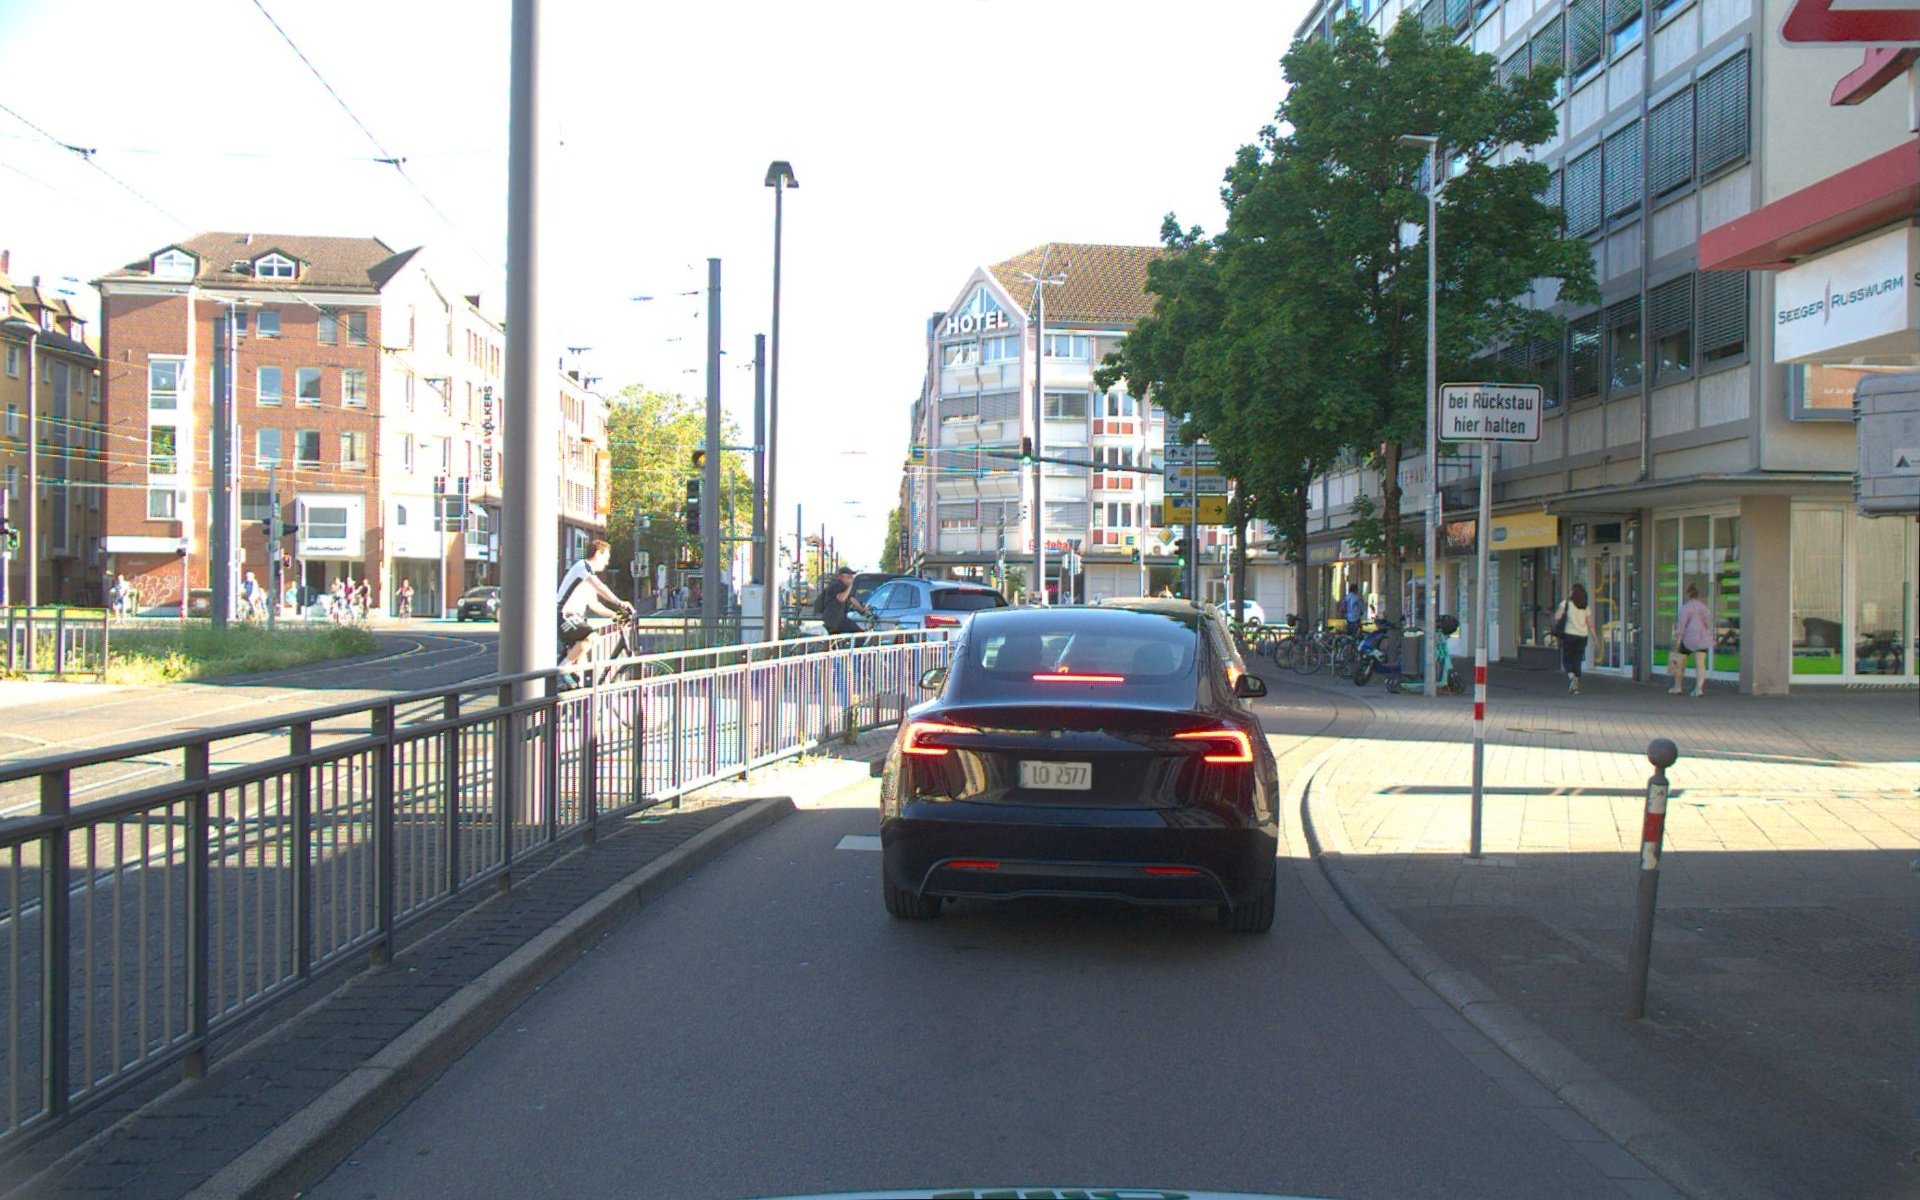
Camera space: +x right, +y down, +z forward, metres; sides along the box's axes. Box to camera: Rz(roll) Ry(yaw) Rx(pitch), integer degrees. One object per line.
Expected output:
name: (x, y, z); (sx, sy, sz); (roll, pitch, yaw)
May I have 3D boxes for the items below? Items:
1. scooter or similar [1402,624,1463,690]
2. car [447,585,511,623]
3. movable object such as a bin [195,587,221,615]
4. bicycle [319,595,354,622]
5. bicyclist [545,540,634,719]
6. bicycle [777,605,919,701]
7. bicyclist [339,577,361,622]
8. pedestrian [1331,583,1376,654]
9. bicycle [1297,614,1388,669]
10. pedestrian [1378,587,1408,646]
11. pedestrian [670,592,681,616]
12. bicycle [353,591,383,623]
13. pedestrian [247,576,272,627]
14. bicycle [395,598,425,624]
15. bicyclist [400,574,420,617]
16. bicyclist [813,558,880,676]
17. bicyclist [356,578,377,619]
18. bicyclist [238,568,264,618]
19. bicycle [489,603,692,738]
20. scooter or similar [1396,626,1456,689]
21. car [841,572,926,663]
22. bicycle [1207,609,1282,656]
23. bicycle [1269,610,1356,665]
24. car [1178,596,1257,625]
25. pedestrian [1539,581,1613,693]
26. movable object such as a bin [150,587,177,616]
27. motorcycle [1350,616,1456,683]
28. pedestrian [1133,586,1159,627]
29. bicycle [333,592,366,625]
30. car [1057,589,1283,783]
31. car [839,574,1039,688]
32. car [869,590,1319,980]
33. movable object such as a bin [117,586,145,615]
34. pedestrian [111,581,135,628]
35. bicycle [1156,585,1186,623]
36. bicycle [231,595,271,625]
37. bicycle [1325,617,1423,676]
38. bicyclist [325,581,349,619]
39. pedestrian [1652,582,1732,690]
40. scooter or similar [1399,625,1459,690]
scooter or similar: (7.710, 0.927, 26.999); (0.943, 1.061, 0.160); (0, 0, 2)
car: (-21.143, 0.172, 72.816); (1.650, 1.588, 4.121); (1, 0, -1)
movable object such as a bin: (-39.271, 0.048, 86.385); (0.978, 1.462, 1.093); (1, 0, -10)
bicycle: (-24.726, 0.338, 65.636); (0.636, 1.031, 1.885); (1, 0, 1)
bicyclist: (-3.534, 0.276, 15.799); (0.667, 1.659, 0.579); (1, -1, 3)
bicycle: (-1.496, 0.702, 22.229); (1.802, 1.233, 0.635); (1, -1, -32)
bicyclist: (-23.279, -0.009, 63.163); (0.510, 1.702, 0.770); (1, -1, 0)
pedestrian: (9.907, 0.454, 41.615); (0.829, 1.751, 0.876); (1, -1, 36)
bicycle: (7.728, 0.833, 33.434); (1.730, 1.075, 0.458); (1, -1, 4)
pedestrian: (10.825, 0.413, 41.352); (0.631, 1.447, 0.621); (1, -1, 9)
pedestrian: (-18.710, 0.243, 108.799); (0.574, 1.557, 0.634); (1, -1, -18)
bicycle: (-24.421, 0.284, 68.267); (0.562, 1.313, 2.026); (1, 0, -2)
pedestrian: (-28.446, 0.081, 67.167); (0.582, 2.049, 0.830); (1, -1, 2)
bicycle: (-22.184, 0.433, 66.693); (0.519, 1.031, 1.897); (1, 0, 1)
bicyclist: (-22.175, -0.188, 66.647); (0.514, 1.702, 0.770); (1, -1, 1)
bicyclist: (-1.527, 0.227, 22.210); (0.674, 1.550, 0.628); (1, -1, -32)
bicyclist: (-24.426, -0.063, 68.060); (0.576, 1.678, 0.806); (1, -1, -3)
bicyclist: (-24.577, -0.250, 57.342); (0.510, 1.702, 0.770); (1, -1, 0)
bicycle: (-3.510, 0.657, 15.786); (1.782, 1.233, 0.582); (1, -1, 3)
scooter or similar: (7.719, 0.951, 27.398); (0.943, 1.045, 0.160); (0, 0, 2)
car: (-1.498, 0.332, 32.284); (1.541, 1.646, 3.781); (1, 0, -3)
bicycle: (7.309, 0.832, 42.525); (1.851, 1.177, 0.480); (-1, -1, 0)
bicycle: (7.554, 0.794, 35.467); (1.774, 1.172, 0.435); (0, 0, -5)
car: (13.487, 0.553, 86.604); (3.766, 1.457, 1.801); (1, -2, -6)
pedestrian: (9.811, 0.582, 26.365); (0.826, 1.737, 0.880); (1, -1, -1)
movable object such as a bin: (-41.513, 0.072, 86.182); (0.978, 1.462, 1.093); (1, 0, -10)
motorcycle: (7.849, 0.875, 29.328); (1.751, 1.149, 0.504); (1, -1, -3)
pedestrian: (7.443, 0.240, 66.176); (0.766, 1.604, 0.864); (1, 1, -16)
bicycle: (-23.283, 0.324, 63.134); (0.519, 1.235, 1.885); (1, 0, 1)
car: (1.782, 0.653, 15.098); (1.727, 1.469, 4.531); (1, 0, 4)
car: (-0.399, 0.462, 26.194); (1.818, 1.663, 3.455); (1, 0, -27)
car: (0.660, 0.713, 8.512); (1.753, 1.476, 3.942); (1, 1, 4)
movable object such as a bin: (-43.041, 0.042, 85.869); (0.978, 1.462, 1.093); (1, 0, -10)
pedestrian: (-30.754, 0.163, 60.800); (0.613, 1.717, 0.703); (1, 1, -13)
bicycle: (8.414, 0.152, 66.090); (0.573, 1.489, 1.679); (0, 0, -16)
bicycle: (-24.588, 0.344, 57.356); (0.519, 1.031, 1.885); (1, 0, 1)
bicycle: (7.861, 0.882, 31.395); (1.817, 1.074, 0.398); (-1, 0, -12)
bicyclist: (-24.722, -0.012, 65.631); (0.650, 1.479, 0.730); (1, -1, 0)
pedestrian: (11.339, 0.548, 25.630); (0.826, 1.630, 0.880); (1, -1, -1)
scooter or similar: (7.715, 0.940, 27.197); (0.936, 1.057, 0.160); (0, 0, 2)
